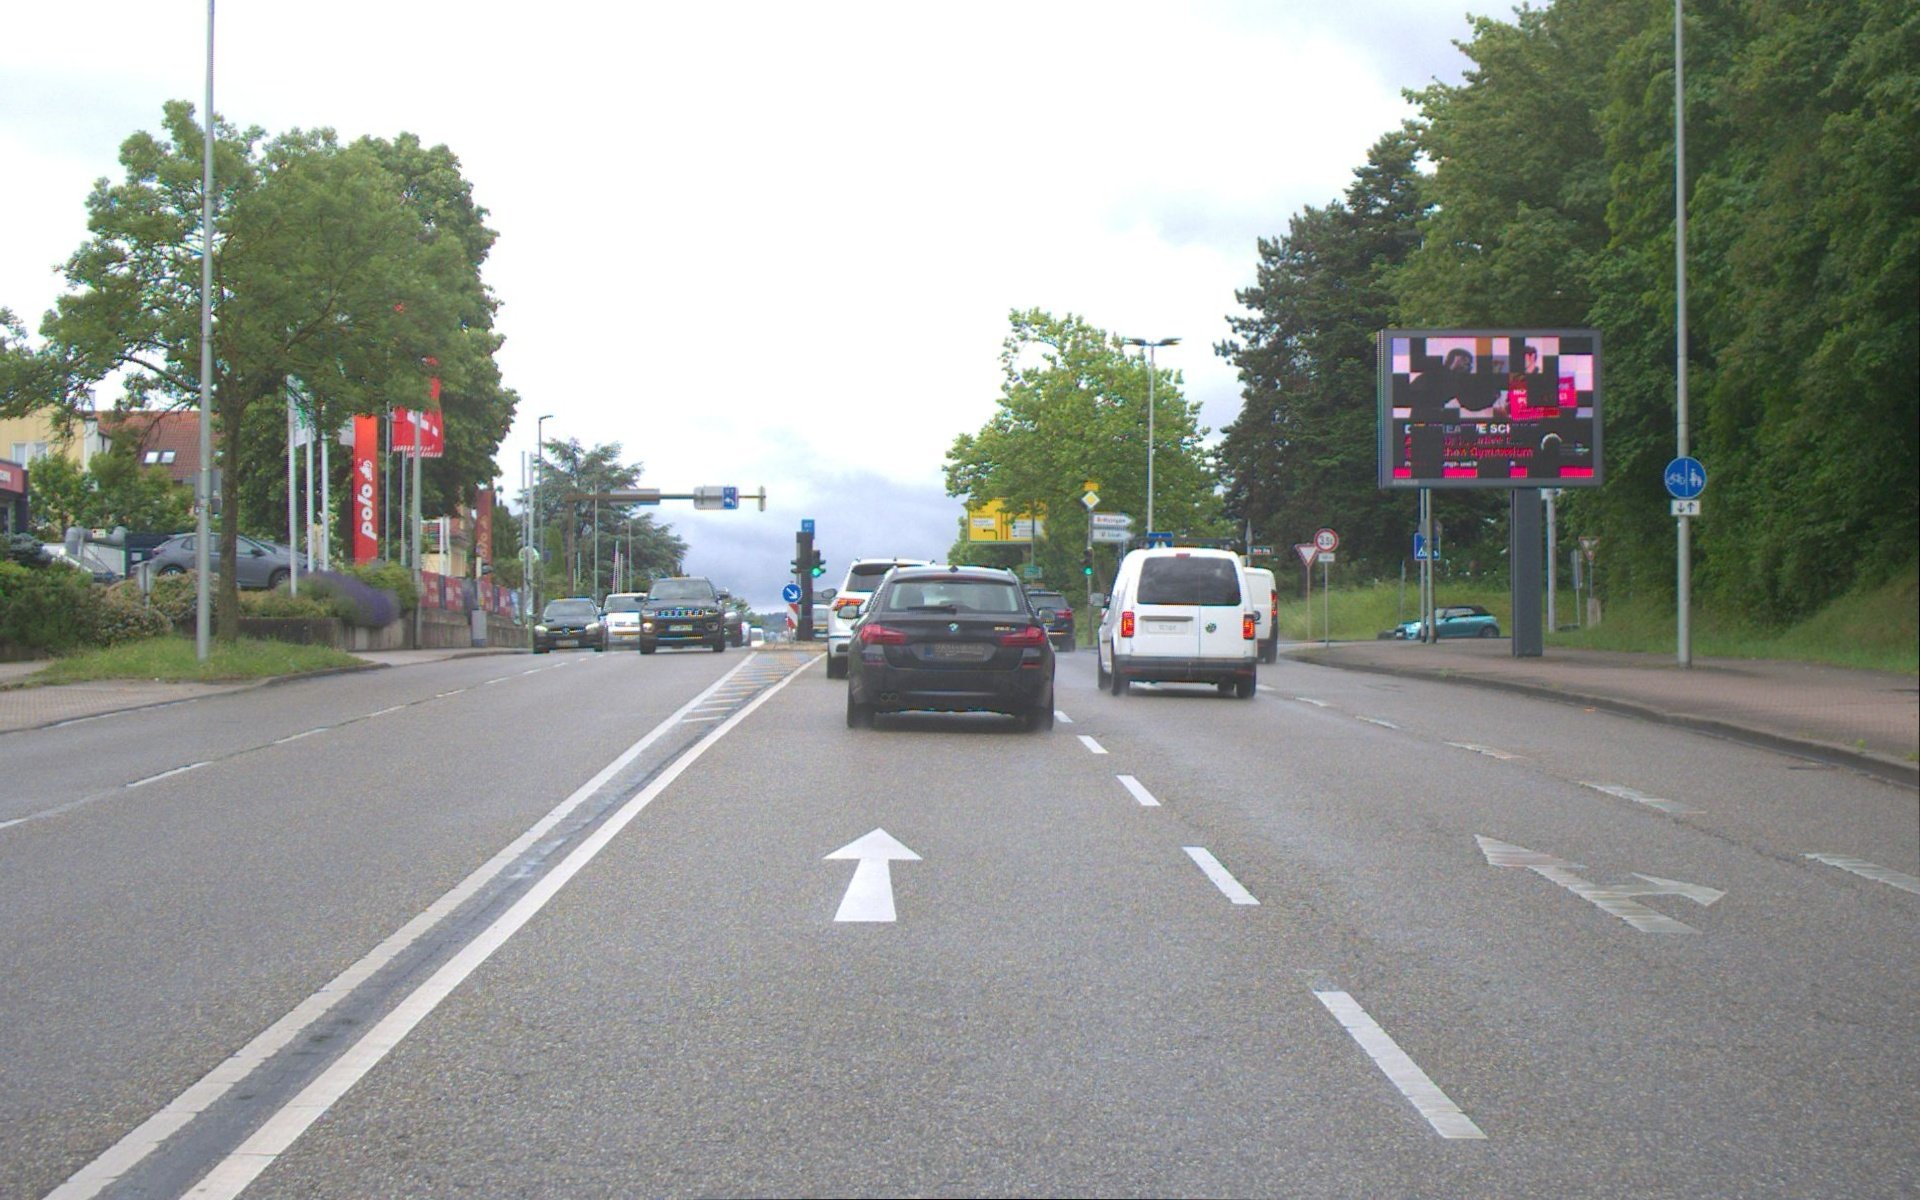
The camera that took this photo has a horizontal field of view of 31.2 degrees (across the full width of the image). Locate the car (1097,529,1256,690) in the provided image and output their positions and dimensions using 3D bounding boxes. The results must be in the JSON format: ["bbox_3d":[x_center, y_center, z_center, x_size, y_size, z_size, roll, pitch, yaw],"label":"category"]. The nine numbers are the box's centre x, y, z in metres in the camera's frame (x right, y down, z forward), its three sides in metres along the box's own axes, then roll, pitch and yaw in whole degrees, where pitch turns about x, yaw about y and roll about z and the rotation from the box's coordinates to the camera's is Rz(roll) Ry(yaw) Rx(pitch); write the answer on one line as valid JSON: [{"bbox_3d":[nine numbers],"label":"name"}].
[{"bbox_3d":[2.639,0.086,42.591,1.741,1.863,3.946,1,1,1],"label":"car"}]

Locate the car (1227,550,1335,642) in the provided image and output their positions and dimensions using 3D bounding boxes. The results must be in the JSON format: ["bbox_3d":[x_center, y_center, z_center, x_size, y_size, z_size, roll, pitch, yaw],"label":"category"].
[{"bbox_3d":[6.244,-0.106,67.212,1.814,1.702,3.946,0,1,1],"label":"car"}]

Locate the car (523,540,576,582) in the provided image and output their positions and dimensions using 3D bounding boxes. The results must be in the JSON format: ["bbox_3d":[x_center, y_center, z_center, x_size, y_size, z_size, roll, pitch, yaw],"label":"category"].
[{"bbox_3d":[-16.402,-1.560,137.609,1.751,1.605,4.533,-2,1,-3],"label":"car"}]

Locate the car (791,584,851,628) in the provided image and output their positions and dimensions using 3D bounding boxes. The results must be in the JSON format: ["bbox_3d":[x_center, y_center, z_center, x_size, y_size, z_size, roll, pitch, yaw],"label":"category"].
[{"bbox_3d":[-4.806,0.222,118.380,1.894,1.451,4.097,0,-1,-4],"label":"car"}]

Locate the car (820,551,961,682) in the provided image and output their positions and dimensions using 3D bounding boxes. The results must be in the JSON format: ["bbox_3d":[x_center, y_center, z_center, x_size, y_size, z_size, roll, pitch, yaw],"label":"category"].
[{"bbox_3d":[-0.939,0.200,47.928,1.728,1.705,3.382,1,1,2],"label":"car"}]

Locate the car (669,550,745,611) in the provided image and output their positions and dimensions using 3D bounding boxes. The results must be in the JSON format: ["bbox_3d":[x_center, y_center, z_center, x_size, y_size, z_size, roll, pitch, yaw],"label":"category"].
[{"bbox_3d":[-6.946,-0.543,94.608,1.822,1.602,4.284,-1,0,-1],"label":"car"}]

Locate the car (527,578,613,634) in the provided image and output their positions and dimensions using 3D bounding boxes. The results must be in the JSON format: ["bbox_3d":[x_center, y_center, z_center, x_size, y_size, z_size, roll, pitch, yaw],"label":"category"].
[{"bbox_3d":[-10.318,0.138,91.084,1.793,1.397,4.300,-1,1,0],"label":"car"}]

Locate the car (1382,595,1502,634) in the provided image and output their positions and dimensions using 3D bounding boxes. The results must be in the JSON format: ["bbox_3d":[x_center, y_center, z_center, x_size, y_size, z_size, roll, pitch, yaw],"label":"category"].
[{"bbox_3d":[17.504,0.508,124.876,3.986,1.289,1.609,-2,1,-19],"label":"car"}]

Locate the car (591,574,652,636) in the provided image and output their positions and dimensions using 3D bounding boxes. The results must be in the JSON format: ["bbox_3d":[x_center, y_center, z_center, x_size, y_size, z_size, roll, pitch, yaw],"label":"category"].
[{"bbox_3d":[-11.302,0.149,114.940,1.795,1.976,4.899,-1,0,-3],"label":"car"}]

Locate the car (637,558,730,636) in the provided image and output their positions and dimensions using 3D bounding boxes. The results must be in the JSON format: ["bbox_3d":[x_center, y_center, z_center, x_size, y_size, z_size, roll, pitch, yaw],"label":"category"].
[{"bbox_3d":[-5.969,-0.090,74.655,1.795,1.578,4.199,-1,1,-2],"label":"car"}]

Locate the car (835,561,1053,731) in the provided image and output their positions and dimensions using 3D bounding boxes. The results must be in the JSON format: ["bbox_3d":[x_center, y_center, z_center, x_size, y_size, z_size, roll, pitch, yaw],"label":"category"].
[{"bbox_3d":[-0.087,0.374,31.547,1.855,1.414,3.956,1,1,2],"label":"car"}]

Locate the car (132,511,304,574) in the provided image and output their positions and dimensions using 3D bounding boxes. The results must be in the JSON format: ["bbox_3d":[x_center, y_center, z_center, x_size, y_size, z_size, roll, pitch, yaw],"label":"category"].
[{"bbox_3d":[-17.475,-1.349,81.096,3.825,1.477,1.742,0,0,-8],"label":"car"}]

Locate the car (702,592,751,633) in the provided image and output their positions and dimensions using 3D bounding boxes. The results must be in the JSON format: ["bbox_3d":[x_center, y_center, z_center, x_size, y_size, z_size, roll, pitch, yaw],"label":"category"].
[{"bbox_3d":[-8.295,0.437,122.168,1.667,1.393,4.000,-2,0,-3],"label":"car"}]

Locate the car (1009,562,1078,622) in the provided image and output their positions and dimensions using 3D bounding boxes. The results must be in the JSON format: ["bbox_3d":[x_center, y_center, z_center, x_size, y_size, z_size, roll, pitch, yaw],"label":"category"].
[{"bbox_3d":[2.029,-0.210,84.318,1.600,1.367,3.680,-1,1,1],"label":"car"}]
